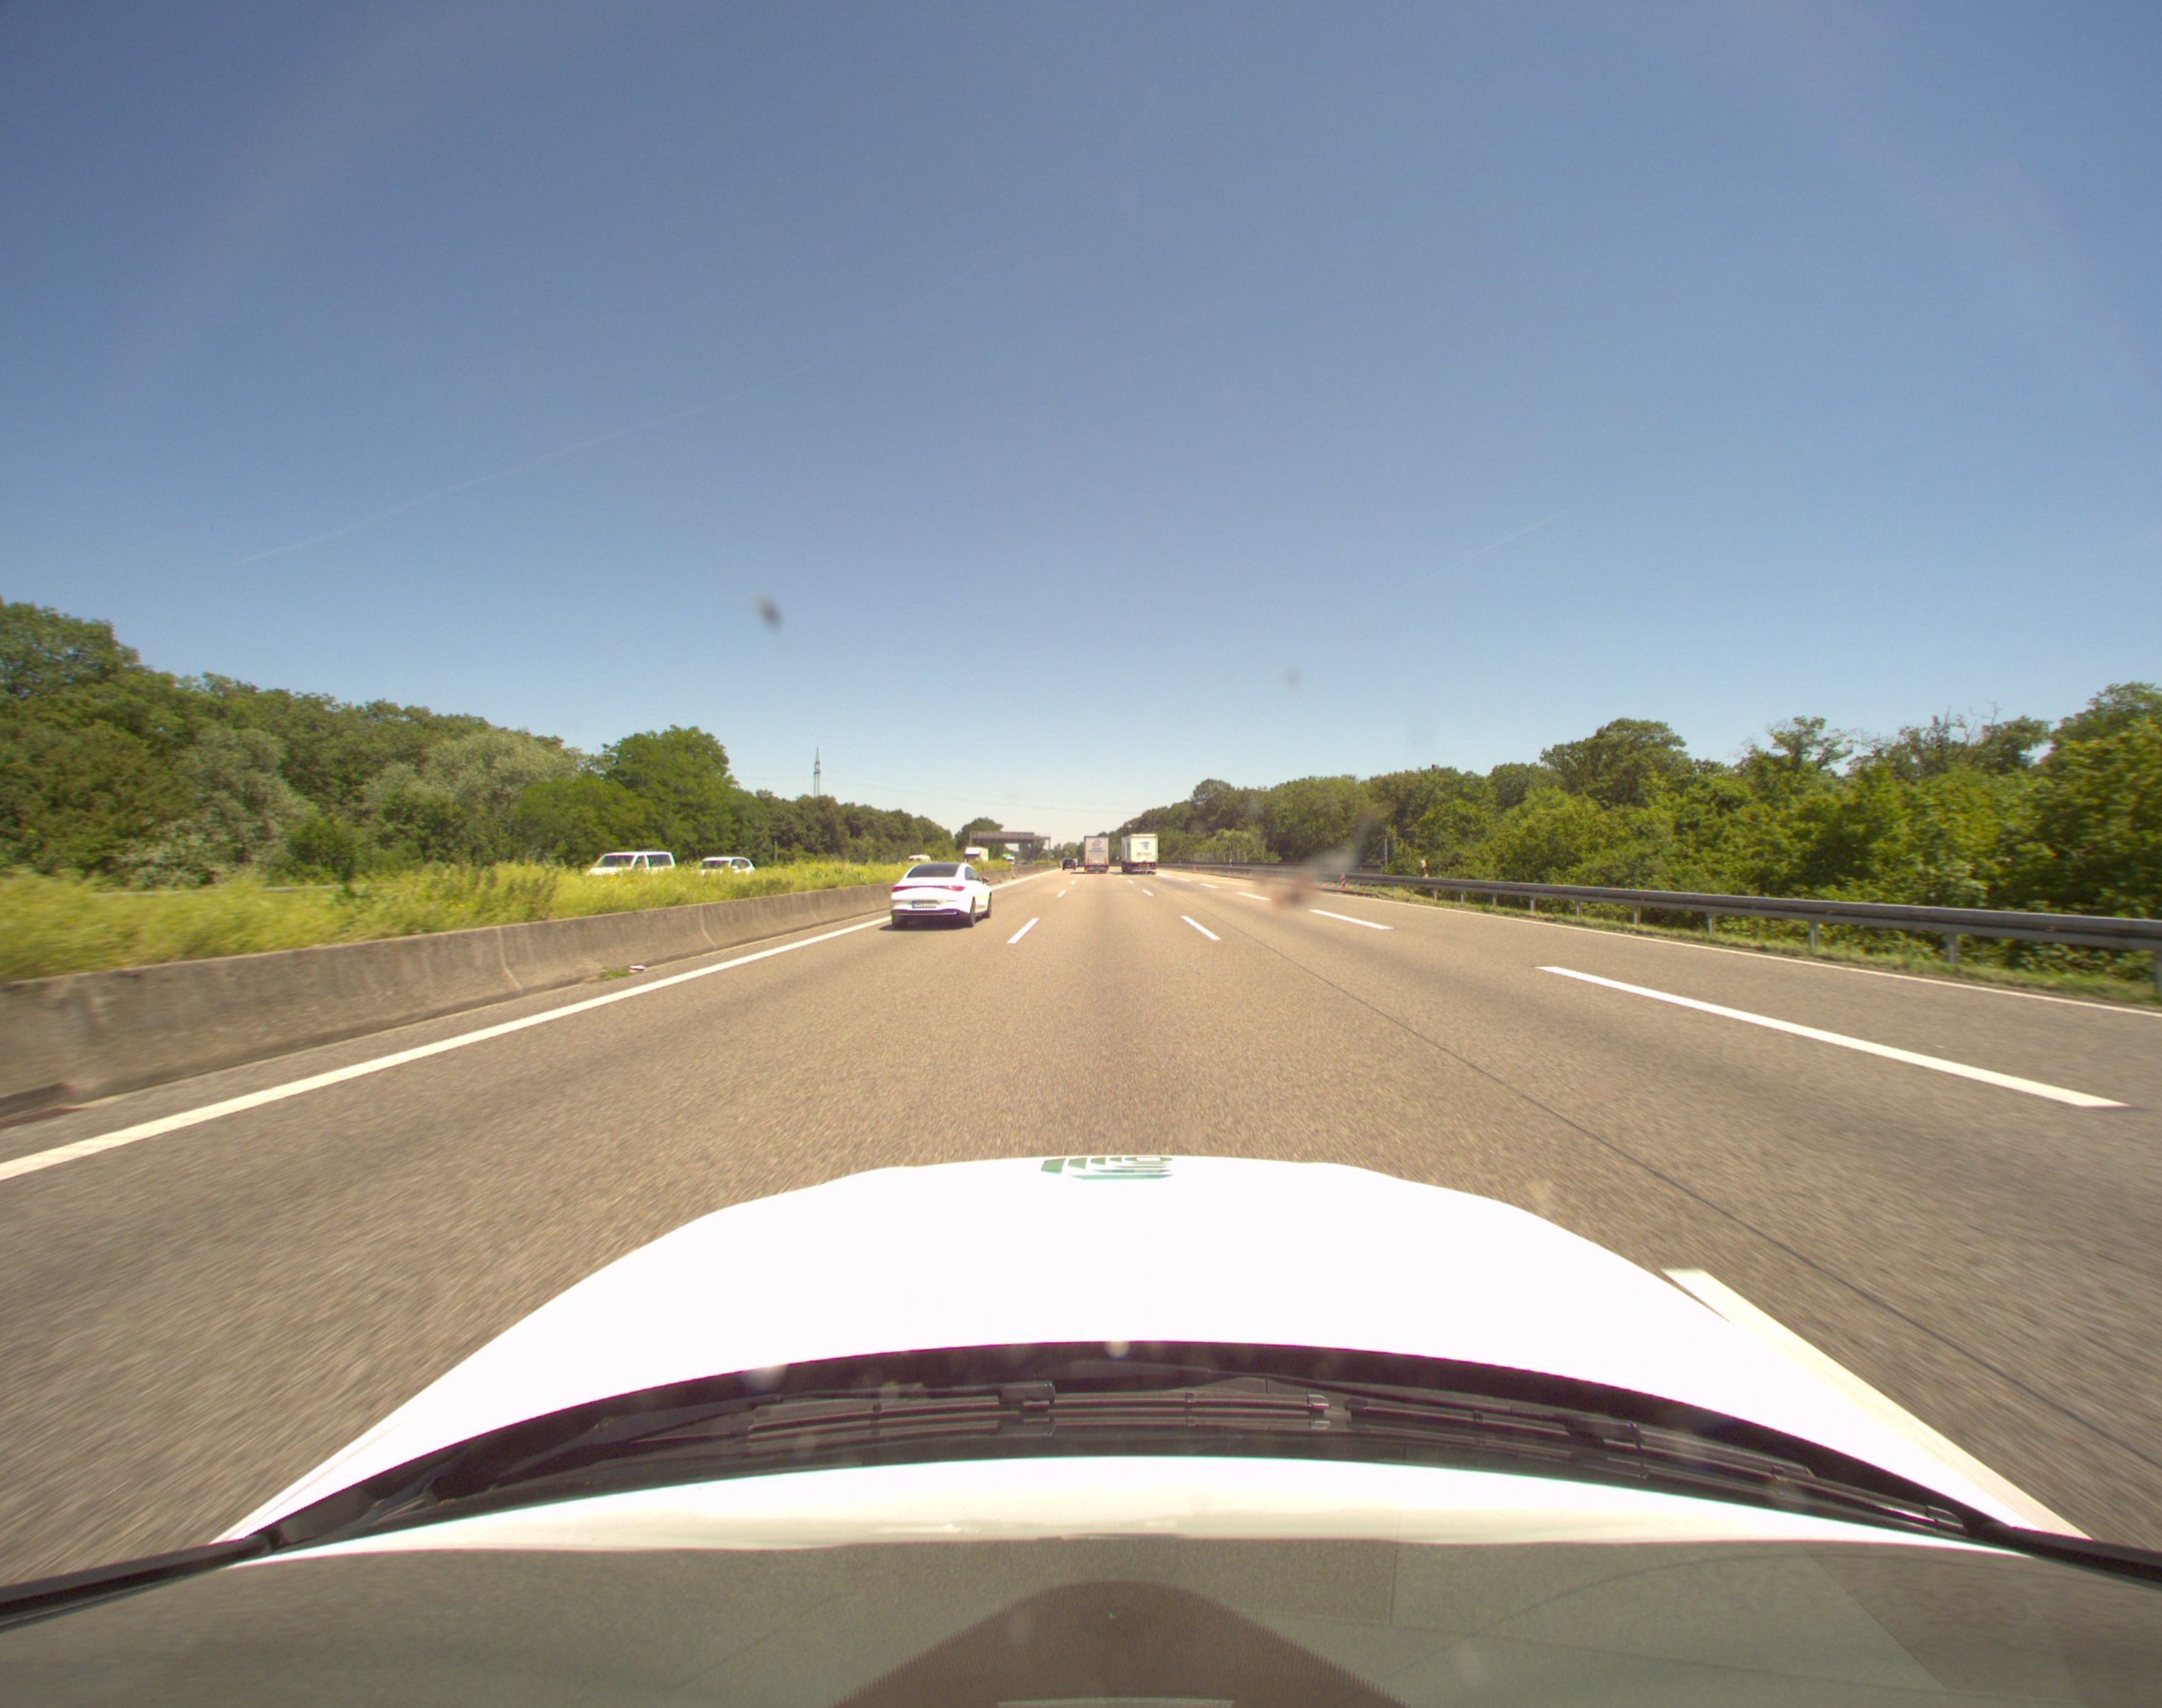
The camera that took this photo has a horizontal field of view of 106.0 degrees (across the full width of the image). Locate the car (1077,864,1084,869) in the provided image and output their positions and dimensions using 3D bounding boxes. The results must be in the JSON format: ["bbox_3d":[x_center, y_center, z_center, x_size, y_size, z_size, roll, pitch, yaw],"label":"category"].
[{"bbox_3d":[-0.199,3.993,257.169,1.988,1.596,3.998,-1,1,-2],"label":"car"}]

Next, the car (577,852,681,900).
[{"bbox_3d":[-20.231,0.943,36.731,1.986,2.014,4.620,-1,0,2],"label":"car"}]

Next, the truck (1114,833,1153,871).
[{"bbox_3d":[5.769,-0.266,90.991,3.317,4.052,10.946,0,1,-2],"label":"truck"}]

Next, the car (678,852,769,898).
[{"bbox_3d":[-15.971,0.883,36.716,1.897,1.899,4.723,-1,0,2],"label":"car"}]

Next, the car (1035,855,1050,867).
[{"bbox_3d":[-6.773,1.238,143.333,2.283,2.014,4.712,-1,0,1],"label":"car"}]

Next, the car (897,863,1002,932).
[{"bbox_3d":[-3.179,0.997,20.690,1.761,1.448,5.108,-2,0,0],"label":"car"}]

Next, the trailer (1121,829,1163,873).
[{"bbox_3d":[5.971,-0.306,81.223,3.358,4.142,9.087,0,1,-1],"label":"trailer"}]

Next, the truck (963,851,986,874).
[{"bbox_3d":[-19.375,1.520,149.181,3.038,3.977,8.287,-1,0,0],"label":"truck"}]

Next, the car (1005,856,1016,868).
[{"bbox_3d":[-15.834,1.772,184.097,1.987,2.568,6.127,0,-1,0],"label":"car"}]

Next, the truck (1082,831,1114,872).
[{"bbox_3d":[1.741,-0.296,87.840,3.219,4.202,8.464,0,0,0],"label":"truck"}]

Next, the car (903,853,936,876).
[{"bbox_3d":[-15.486,0.989,78.349,2.117,2.082,4.971,-1,0,1],"label":"car"}]

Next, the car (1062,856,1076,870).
[{"bbox_3d":[-1.859,1.344,123.177,1.988,1.874,3.997,0,1,-2],"label":"car"}]
